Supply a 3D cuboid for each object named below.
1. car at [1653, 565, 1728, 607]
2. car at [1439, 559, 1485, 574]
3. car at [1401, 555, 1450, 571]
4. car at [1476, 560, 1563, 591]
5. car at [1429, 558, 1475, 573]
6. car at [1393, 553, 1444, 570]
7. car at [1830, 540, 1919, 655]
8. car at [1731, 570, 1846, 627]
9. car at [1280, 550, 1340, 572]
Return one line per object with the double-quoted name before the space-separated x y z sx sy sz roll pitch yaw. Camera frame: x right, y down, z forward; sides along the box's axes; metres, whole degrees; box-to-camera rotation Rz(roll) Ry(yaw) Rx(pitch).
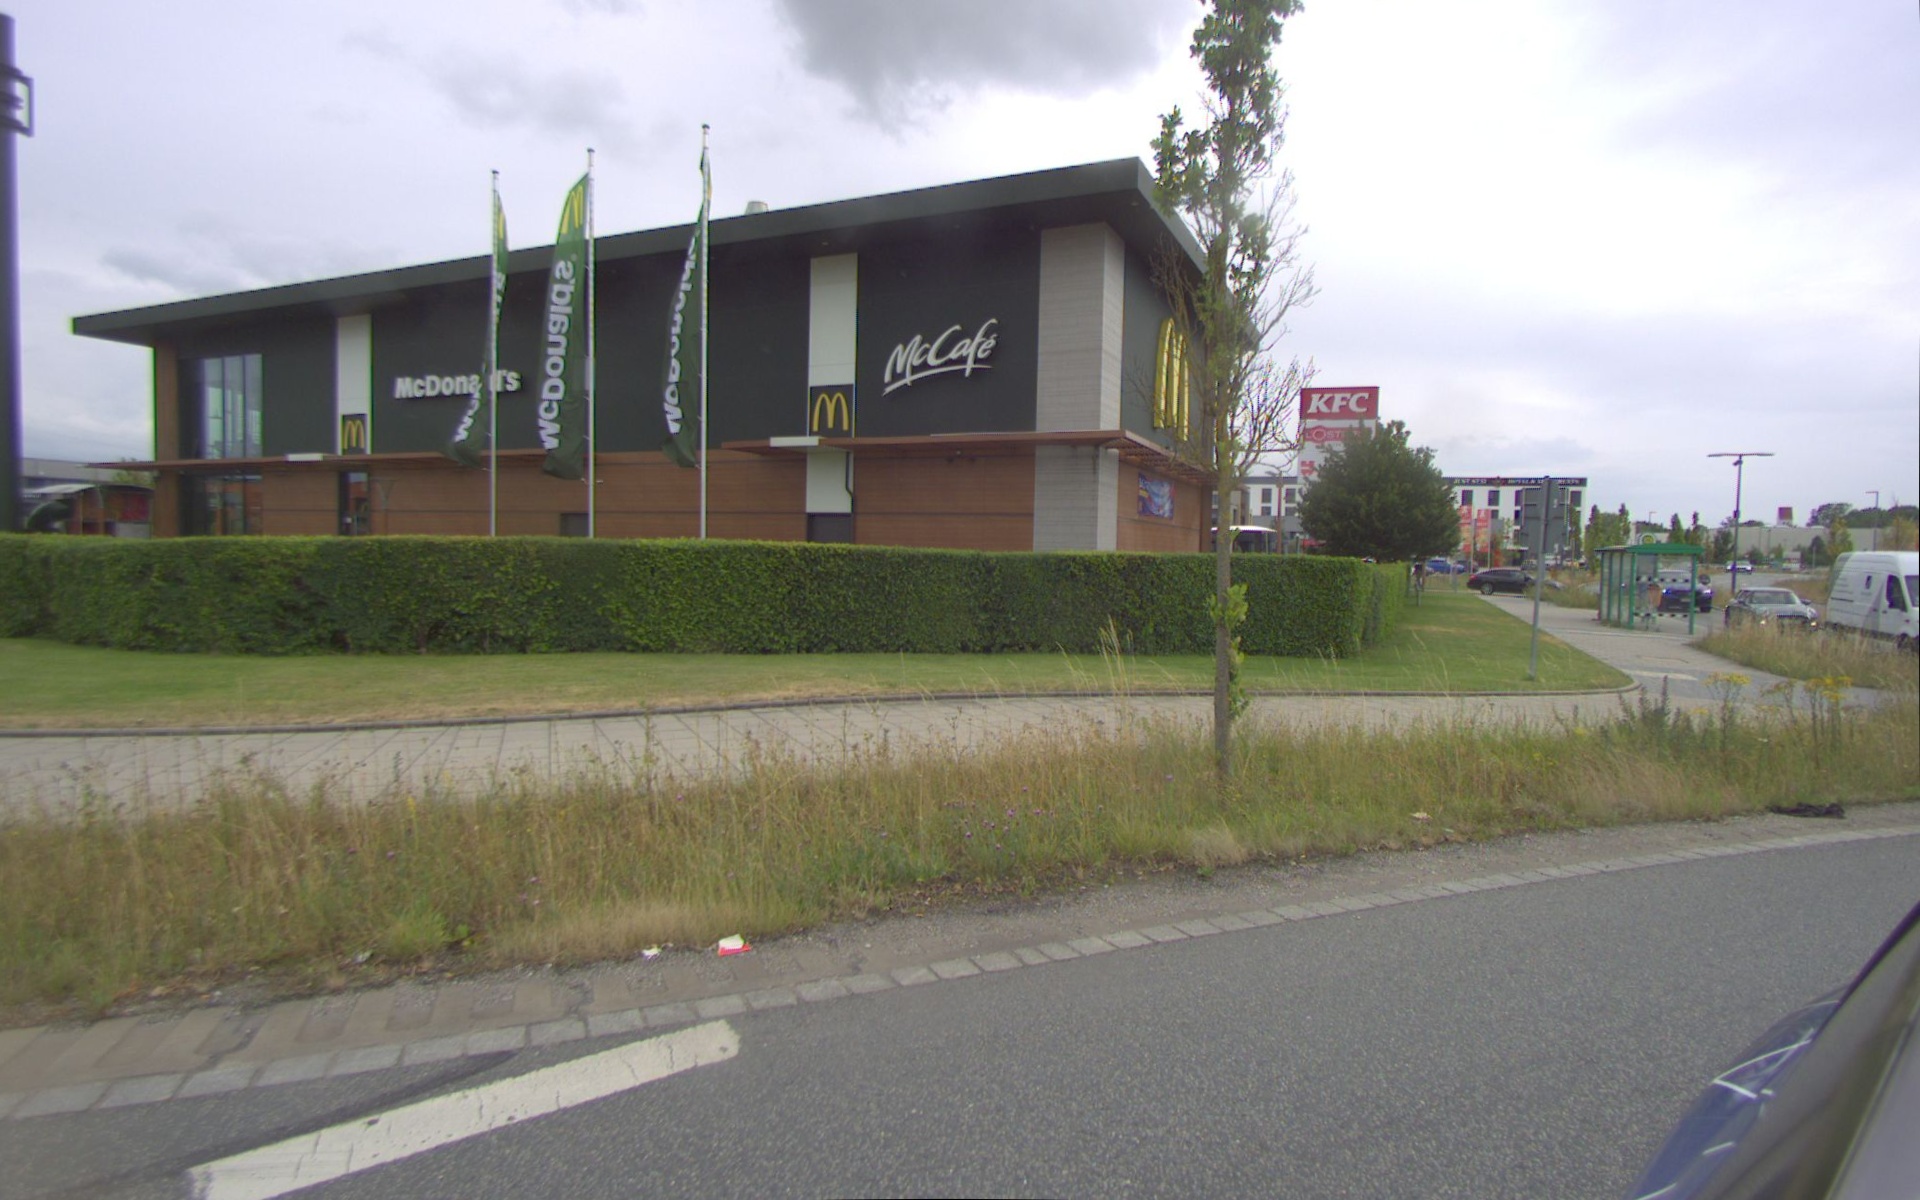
"car" 31.476 -0.651 43.736 1.849 1.627 3.967 2 3 25
"car" 52.987 -3.572 106.825 3.984 1.504 1.820 2 4 42
"car" 44.935 -3.581 97.657 3.978 1.504 1.823 3 4 37
"car" 29.581 -1.299 53.584 3.964 1.504 1.830 0 3 29
"car" 51.029 -3.585 105.082 3.984 1.504 1.820 2 4 42
"car" 42.252 -3.556 93.298 3.978 1.504 1.823 3 4 37
"car" 22.950 -0.105 23.740 2.005 2.558 6.059 2 3 23
"car" 26.530 -0.110 32.555 1.849 1.627 3.967 2 3 25
"car" 24.816 -2.757 71.767 3.951 1.504 1.836 0 3 21
